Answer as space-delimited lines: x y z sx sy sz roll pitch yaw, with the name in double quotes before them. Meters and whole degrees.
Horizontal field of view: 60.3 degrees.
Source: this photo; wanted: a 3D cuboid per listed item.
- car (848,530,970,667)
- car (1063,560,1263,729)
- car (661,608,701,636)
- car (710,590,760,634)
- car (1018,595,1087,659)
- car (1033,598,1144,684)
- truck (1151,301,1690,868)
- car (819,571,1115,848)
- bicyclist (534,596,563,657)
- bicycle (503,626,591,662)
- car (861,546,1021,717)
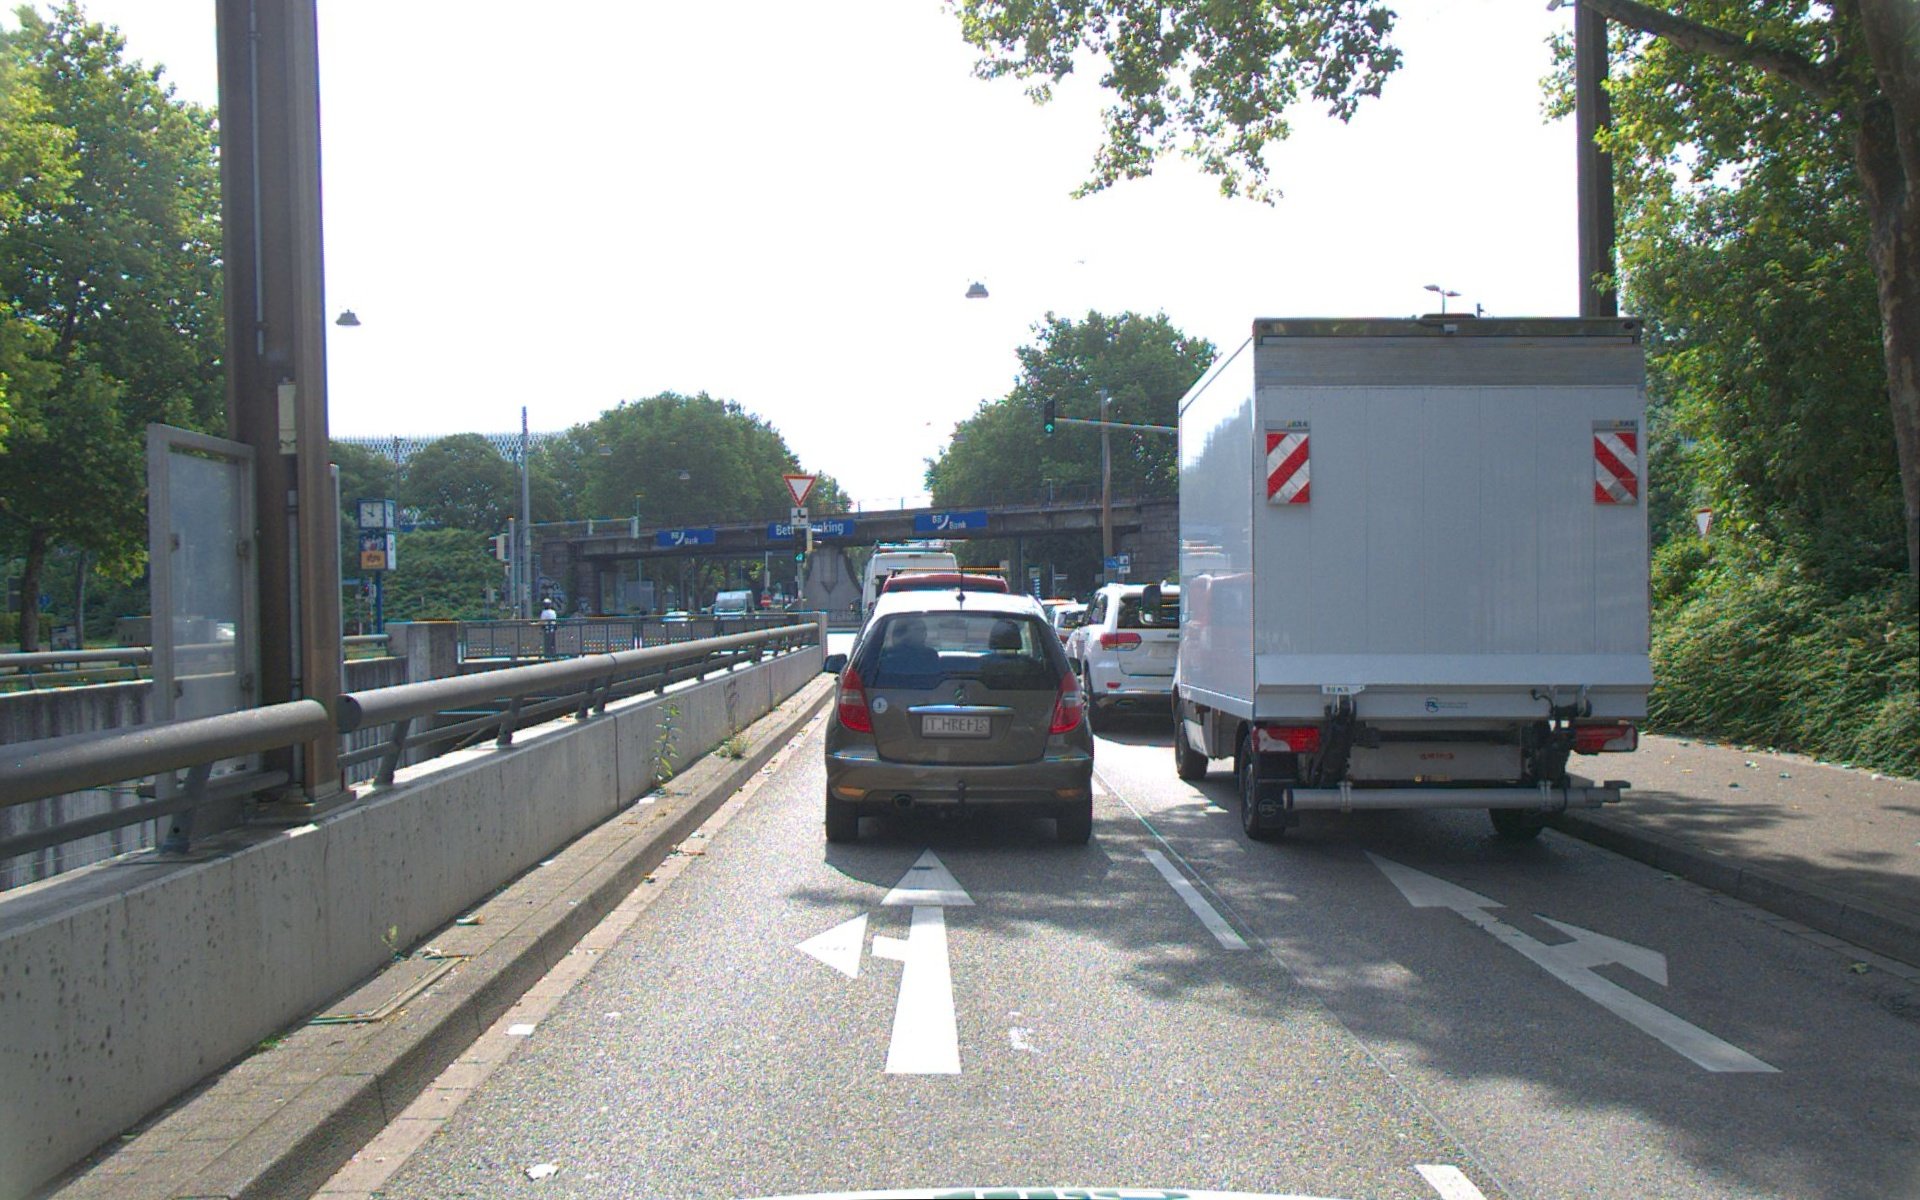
"car" -1.202 0.020 36.292 2.156 2.774 4.922 1 -1 -8
"car" 2.477 0.554 21.268 1.954 1.935 4.507 0 -1 -1
"car" -16.432 1.273 97.550 1.668 1.502 3.998 -4 0 -2
"car" -13.553 0.696 99.977 2.212 2.570 5.626 -1 0 0
"car" 2.336 0.694 42.265 1.513 1.548 3.616 0 -1 -1
"car" 2.422 0.775 31.916 1.814 1.548 3.616 0 -1 -1
"truck" 2.935 -0.072 12.305 2.396 3.176 6.028 0 0 1
"car" 0.020 0.658 11.889 1.755 1.636 3.798 1 0 -1
"bicyclist" -9.772 0.617 39.297 0.499 1.429 0.626 -1 0 3
"bicycle" -9.797 1.037 39.302 1.931 0.841 0.612 0 0 2
"car" -0.259 0.401 22.307 1.916 2.052 4.675 0 -1 -1
